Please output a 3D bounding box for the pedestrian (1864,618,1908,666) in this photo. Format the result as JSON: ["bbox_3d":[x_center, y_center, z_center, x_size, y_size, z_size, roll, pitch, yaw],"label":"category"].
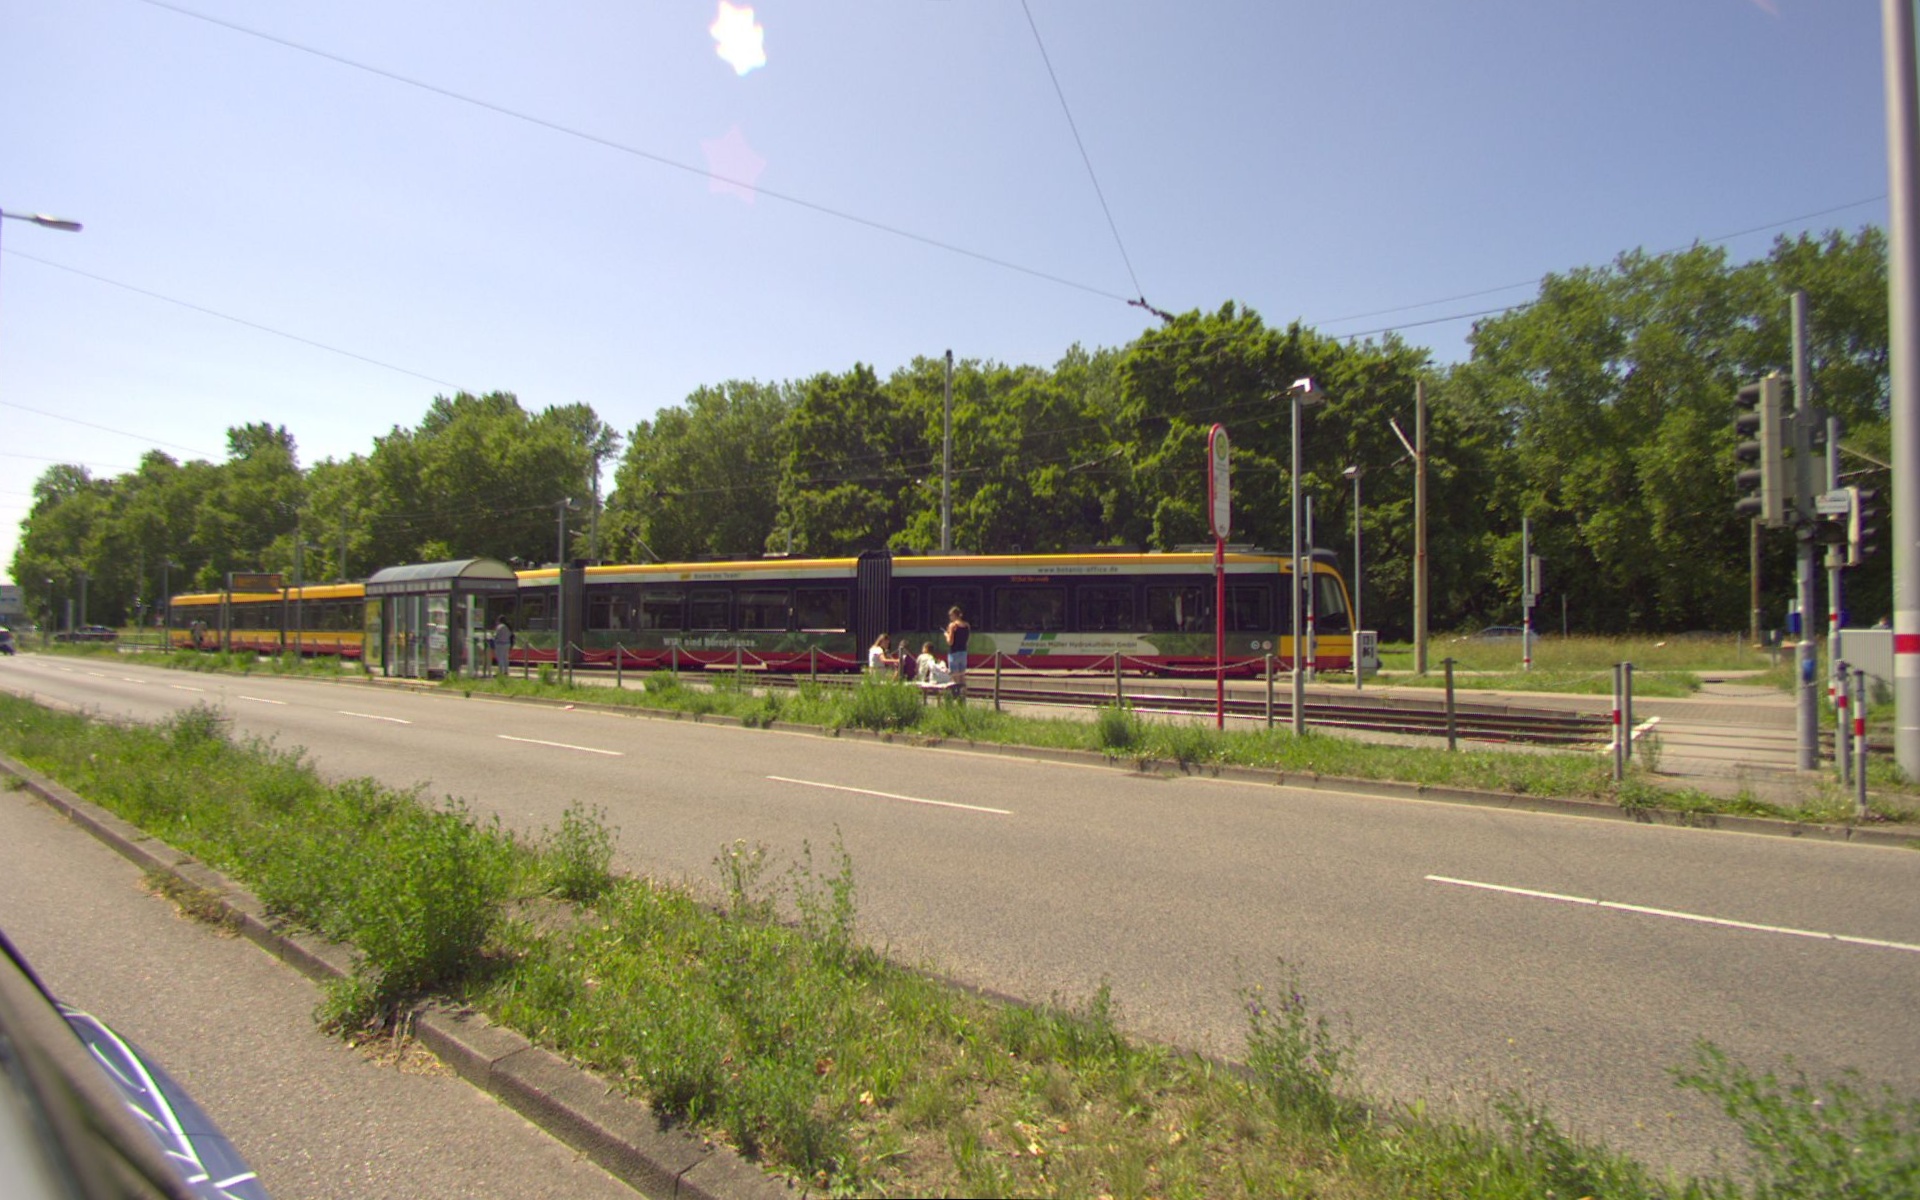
[{"bbox_3d":[30.937,1.396,33.813,0.778,1.586,0.692,-1,-1,-6],"label":"pedestrian"}]

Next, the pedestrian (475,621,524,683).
[{"bbox_3d":[-11.796,1.322,25.911,0.878,1.519,0.826,-2,-1,38],"label":"pedestrian"}]

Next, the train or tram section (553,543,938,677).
[{"bbox_3d":[-6.907,0.425,31.498,12.379,3.652,3.028,-2,-1,25],"label":"train or tram section"}]

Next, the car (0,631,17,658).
[{"bbox_3d":[-54.875,2.510,57.204,3.715,1.516,1.752,-2,-2,38],"label":"car"}]

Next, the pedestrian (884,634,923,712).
[{"bbox_3d":[-0.896,1.153,16.107,0.399,1.198,0.490,-2,-1,32],"label":"pedestrian"}]

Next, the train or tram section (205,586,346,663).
[{"bbox_3d":[-37.380,1.352,54.985,12.585,3.770,3.013,-2,-1,40],"label":"train or tram section"}]

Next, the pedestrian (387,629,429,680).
[{"bbox_3d":[-14.684,1.439,26.929,0.839,1.293,0.694,-2,-1,38],"label":"pedestrian"}]

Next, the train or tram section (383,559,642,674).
[{"bbox_3d":[-17.151,0.678,37.829,13.886,3.652,3.013,-2,-1,40],"label":"train or tram section"}]

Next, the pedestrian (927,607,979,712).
[{"bbox_3d":[-0.106,0.908,15.707,0.582,1.577,0.529,-2,-1,39],"label":"pedestrian"}]

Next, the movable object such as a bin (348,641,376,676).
[{"bbox_3d":[-17.656,1.718,29.872,0.644,0.985,0.477,-1,-2,36],"label":"movable object such as a bin"}]

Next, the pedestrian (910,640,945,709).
[{"bbox_3d":[-0.512,1.167,15.999,0.377,1.066,0.379,-2,-1,38],"label":"pedestrian"}]

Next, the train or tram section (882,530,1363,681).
[{"bbox_3d":[4.216,0.248,27.878,12.325,3.652,3.041,-1,-1,13],"label":"train or tram section"}]

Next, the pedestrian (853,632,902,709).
[{"bbox_3d":[-1.327,1.127,16.319,0.534,1.198,0.577,-2,-1,29],"label":"pedestrian"}]

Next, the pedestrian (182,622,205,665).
[{"bbox_3d":[-32.899,1.857,43.429,0.775,1.805,0.626,-2,-1,38],"label":"pedestrian"}]

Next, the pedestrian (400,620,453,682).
[{"bbox_3d":[-13.910,1.315,26.368,1.024,1.558,0.865,-2,-1,38],"label":"pedestrian"}]

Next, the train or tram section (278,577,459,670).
[{"bbox_3d":[-27.522,1.106,46.589,13.252,3.795,3.013,-2,-1,41],"label":"train or tram section"}]

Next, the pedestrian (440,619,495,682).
[{"bbox_3d":[-12.723,1.297,26.145,0.984,1.558,0.922,-2,-1,38],"label":"pedestrian"}]

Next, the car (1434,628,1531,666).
[{"bbox_3d":[25.656,2.315,49.867,3.972,1.741,1.986,-1,-1,21],"label":"car"}]

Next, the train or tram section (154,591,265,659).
[{"bbox_3d":[-46.669,1.543,62.736,11.530,3.884,2.920,-2,-1,40],"label":"train or tram section"}]
